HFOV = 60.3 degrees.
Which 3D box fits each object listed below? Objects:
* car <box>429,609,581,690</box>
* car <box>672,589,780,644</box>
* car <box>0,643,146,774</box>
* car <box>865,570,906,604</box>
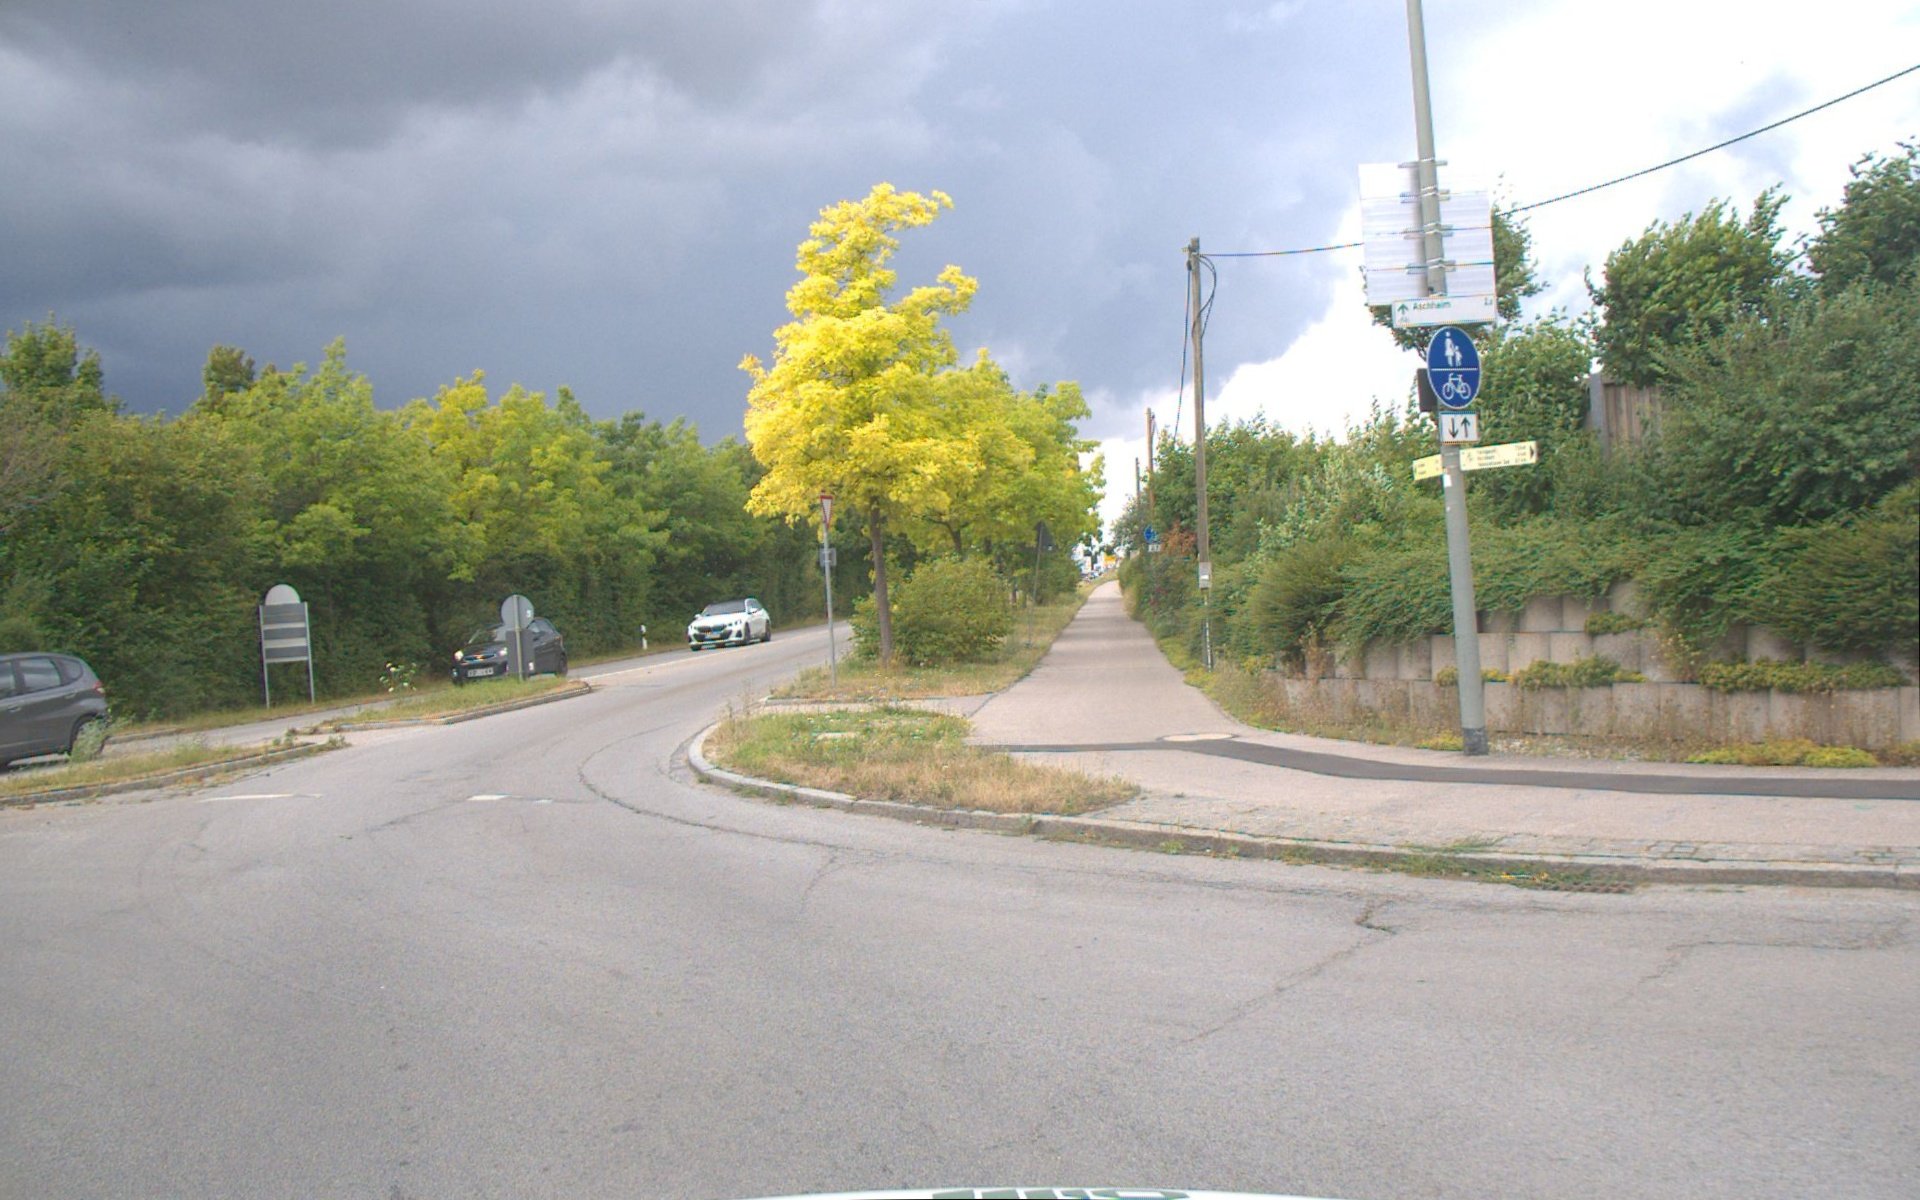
[{"bbox_3d":[-10.162,1.077,37.248,1.646,1.479,4.004,-2,2,11],"label":"car"},{"bbox_3d":[-7.625,0.515,54.482,2.166,1.479,4.948,-3,2,8],"label":"car"},{"bbox_3d":[-12.545,1.470,20.999,1.646,1.447,4.004,-5,1,15],"label":"car"},{"bbox_3d":[-4.096,-0.696,91.885,1.954,1.628,4.664,-6,0,-1],"label":"car"}]
